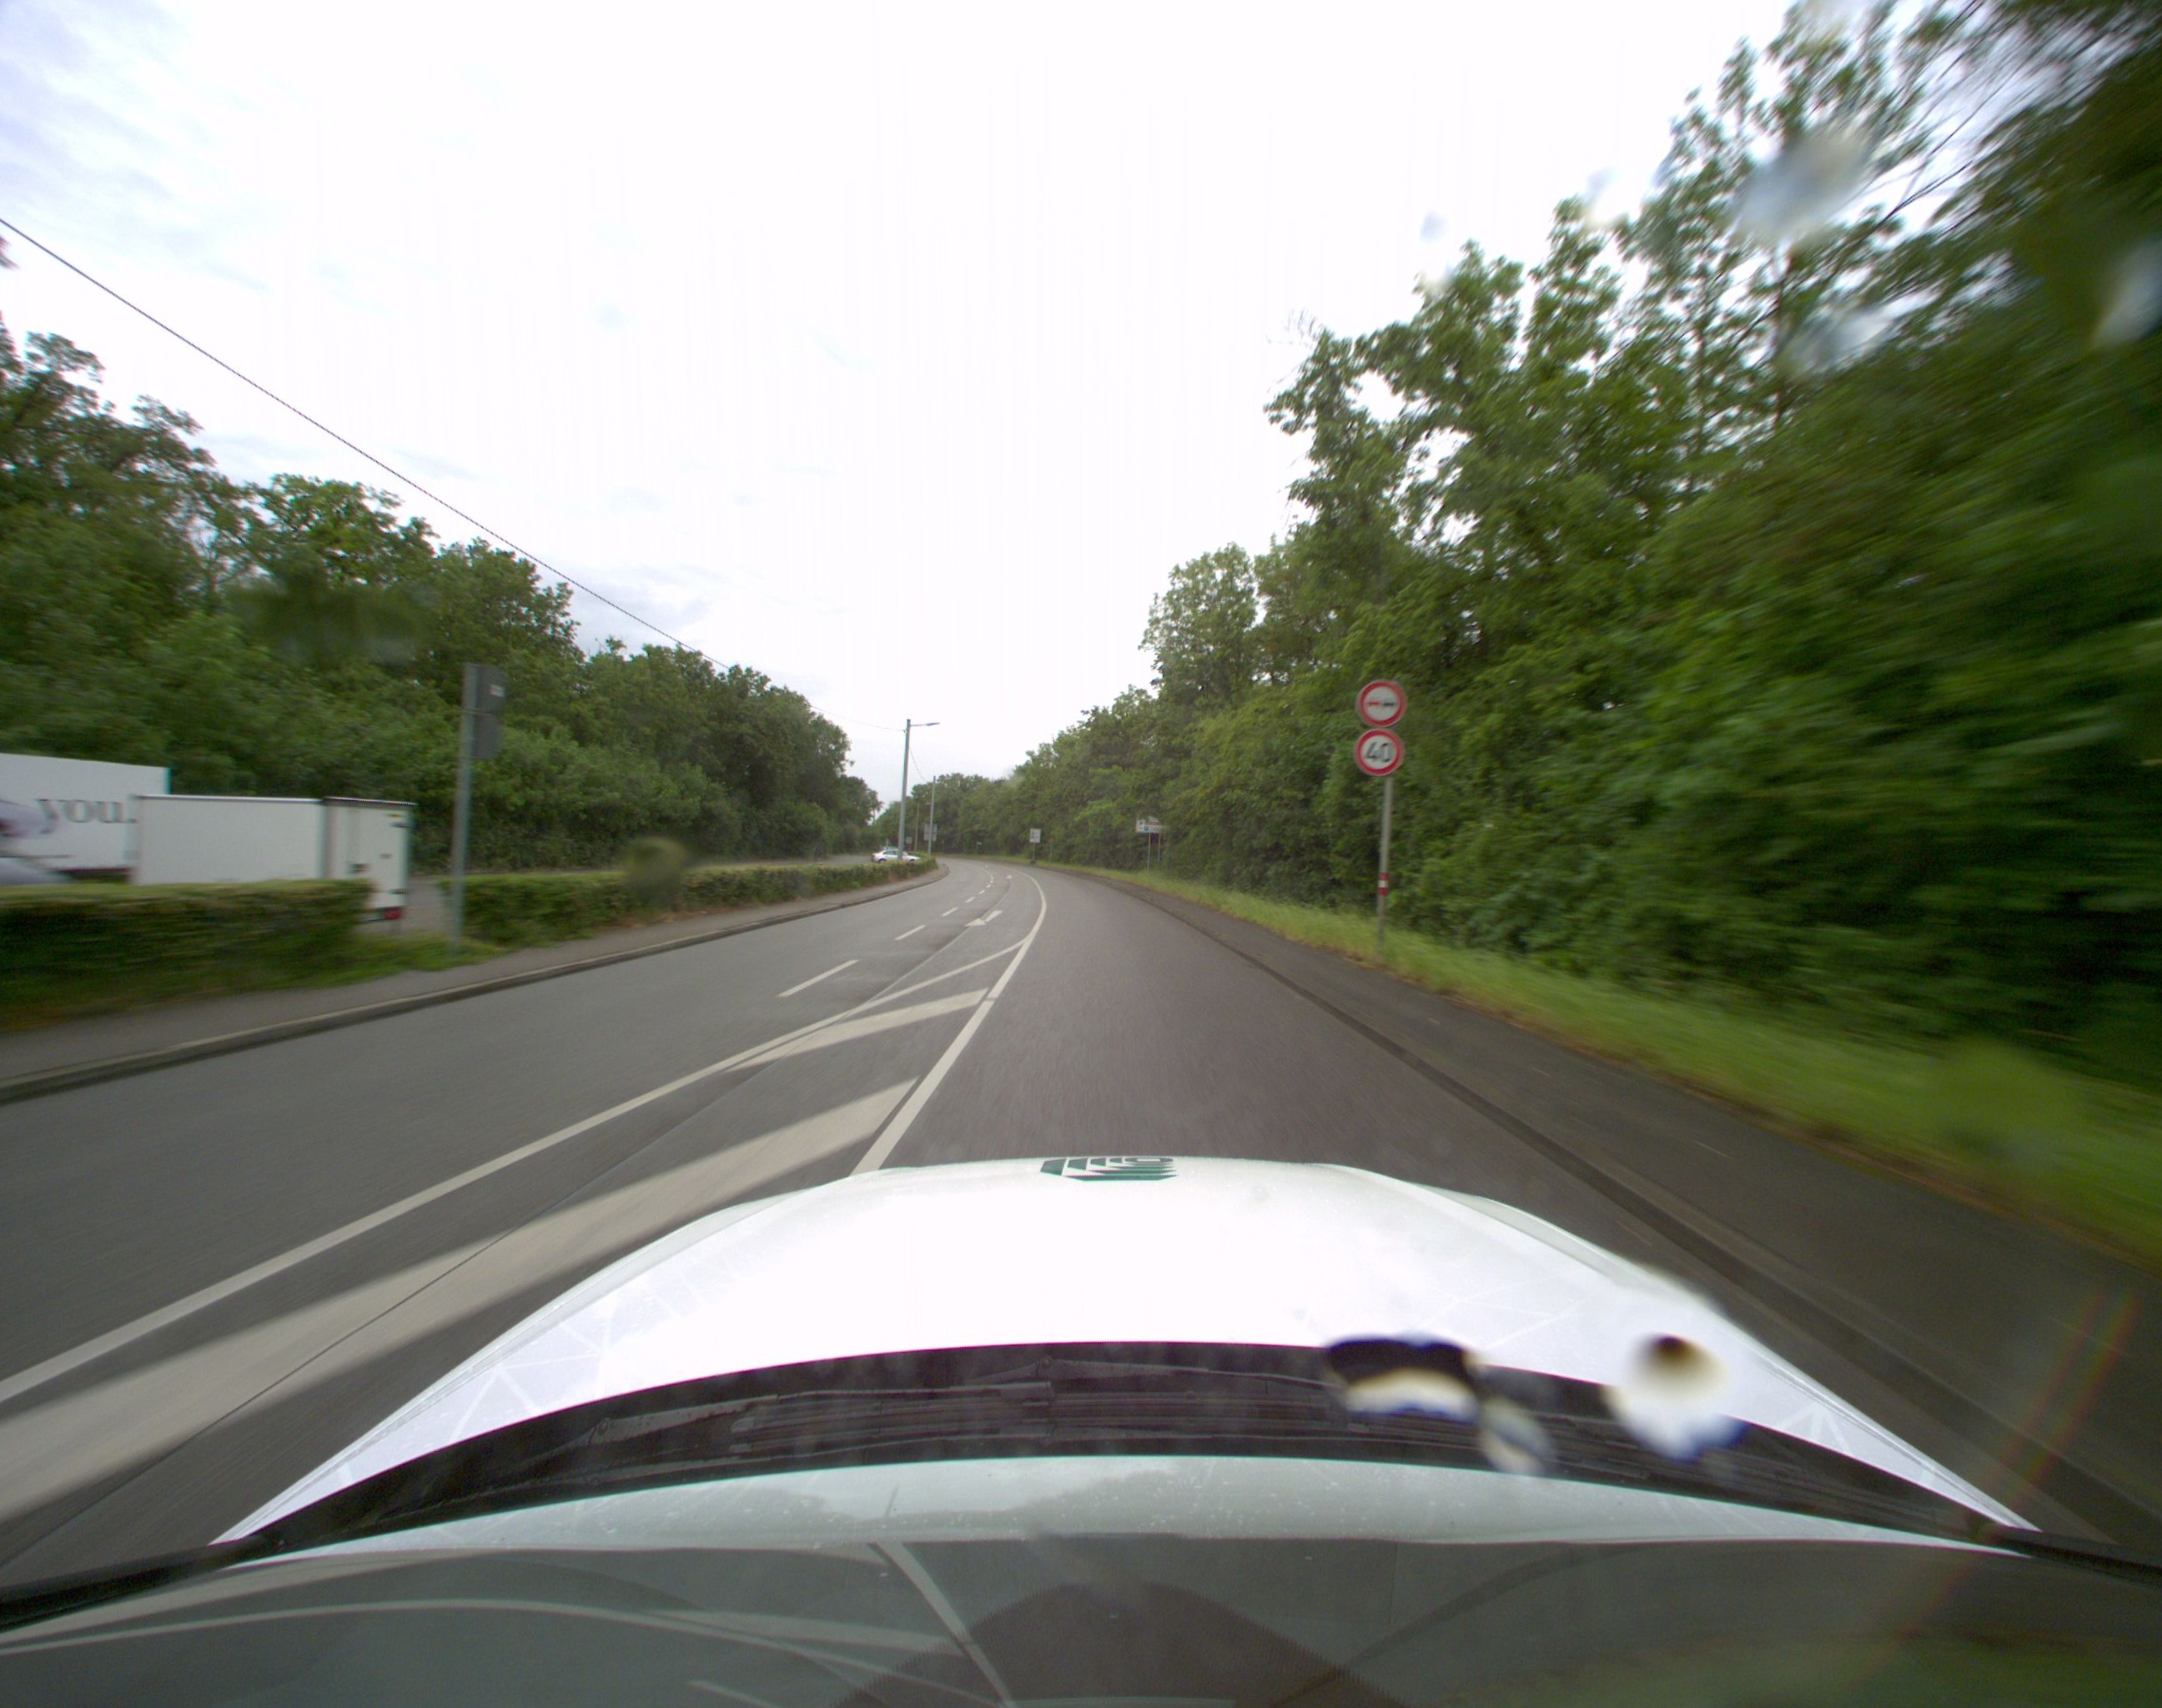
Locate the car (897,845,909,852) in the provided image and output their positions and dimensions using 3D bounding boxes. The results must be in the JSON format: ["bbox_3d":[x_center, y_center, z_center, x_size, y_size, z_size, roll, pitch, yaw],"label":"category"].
[{"bbox_3d":[-39.961,-1.148,182.835,1.942,1.498,4.288,1,0,-21],"label":"car"}]

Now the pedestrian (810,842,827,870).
[{"bbox_3d":[-17.186,0.103,53.369,0.816,1.797,1.133,1,0,-6],"label":"pedestrian"}]

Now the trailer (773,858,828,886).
[{"bbox_3d":[-11.207,0.711,32.627,1.799,1.034,1.331,1,0,-7],"label":"trailer"}]

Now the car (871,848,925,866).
[{"bbox_3d":[-16.581,0.238,73.765,4.584,1.506,1.989,1,0,-16],"label":"car"}]

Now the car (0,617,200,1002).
[{"bbox_3d":[-11.885,-0.416,6.509,6.259,3.113,2.748,1,-1,-4],"label":"car"}]

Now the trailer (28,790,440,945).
[{"bbox_3d":[-12.165,0.194,11.937,3.975,2.053,1.872,1,0,-1],"label":"trailer"}]

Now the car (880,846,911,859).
[{"bbox_3d":[-27.023,-0.207,118.728,4.295,1.708,1.991,2,0,-13],"label":"car"}]

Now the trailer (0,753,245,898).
[{"bbox_3d":[-22.707,-0.565,17.055,2.471,2.874,7.966,0,0,-4],"label":"trailer"}]
